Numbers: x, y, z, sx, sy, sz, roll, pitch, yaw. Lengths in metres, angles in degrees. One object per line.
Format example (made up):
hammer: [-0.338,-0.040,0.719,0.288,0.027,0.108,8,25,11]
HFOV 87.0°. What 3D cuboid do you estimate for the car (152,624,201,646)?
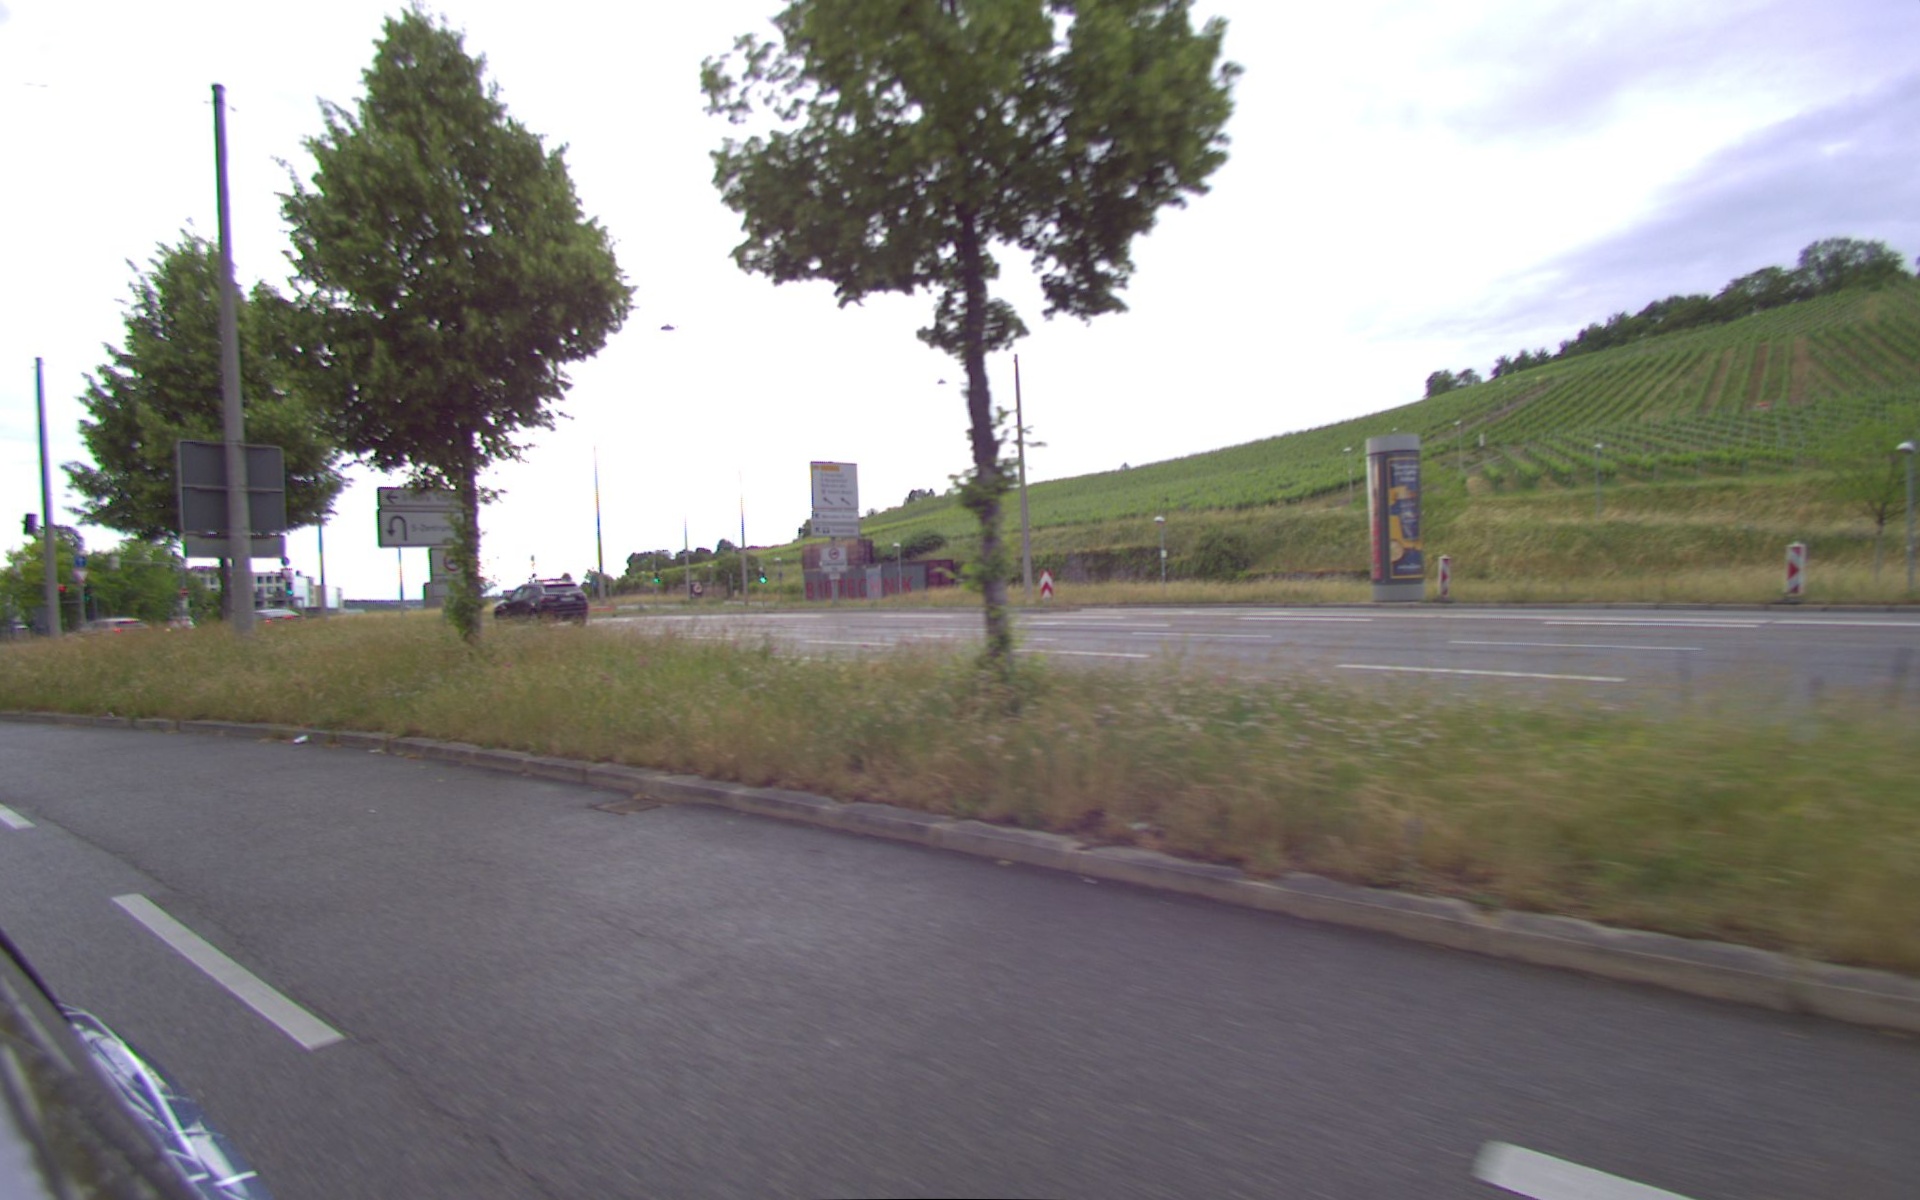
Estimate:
car: [-67.738,3.002,87.593,1.767,1.600,3.915,-3,1,-12]

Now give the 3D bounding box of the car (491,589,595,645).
car: [-14.431,0.602,34.942,4.000,1.763,1.748,-2,1,43]

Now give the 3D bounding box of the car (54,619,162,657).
car: [-38.378,1.723,45.586,4.308,1.472,1.728,-3,1,20]

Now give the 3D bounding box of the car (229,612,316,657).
car: [-28.067,1.382,41.269,4.355,1.666,1.859,-2,1,41]
